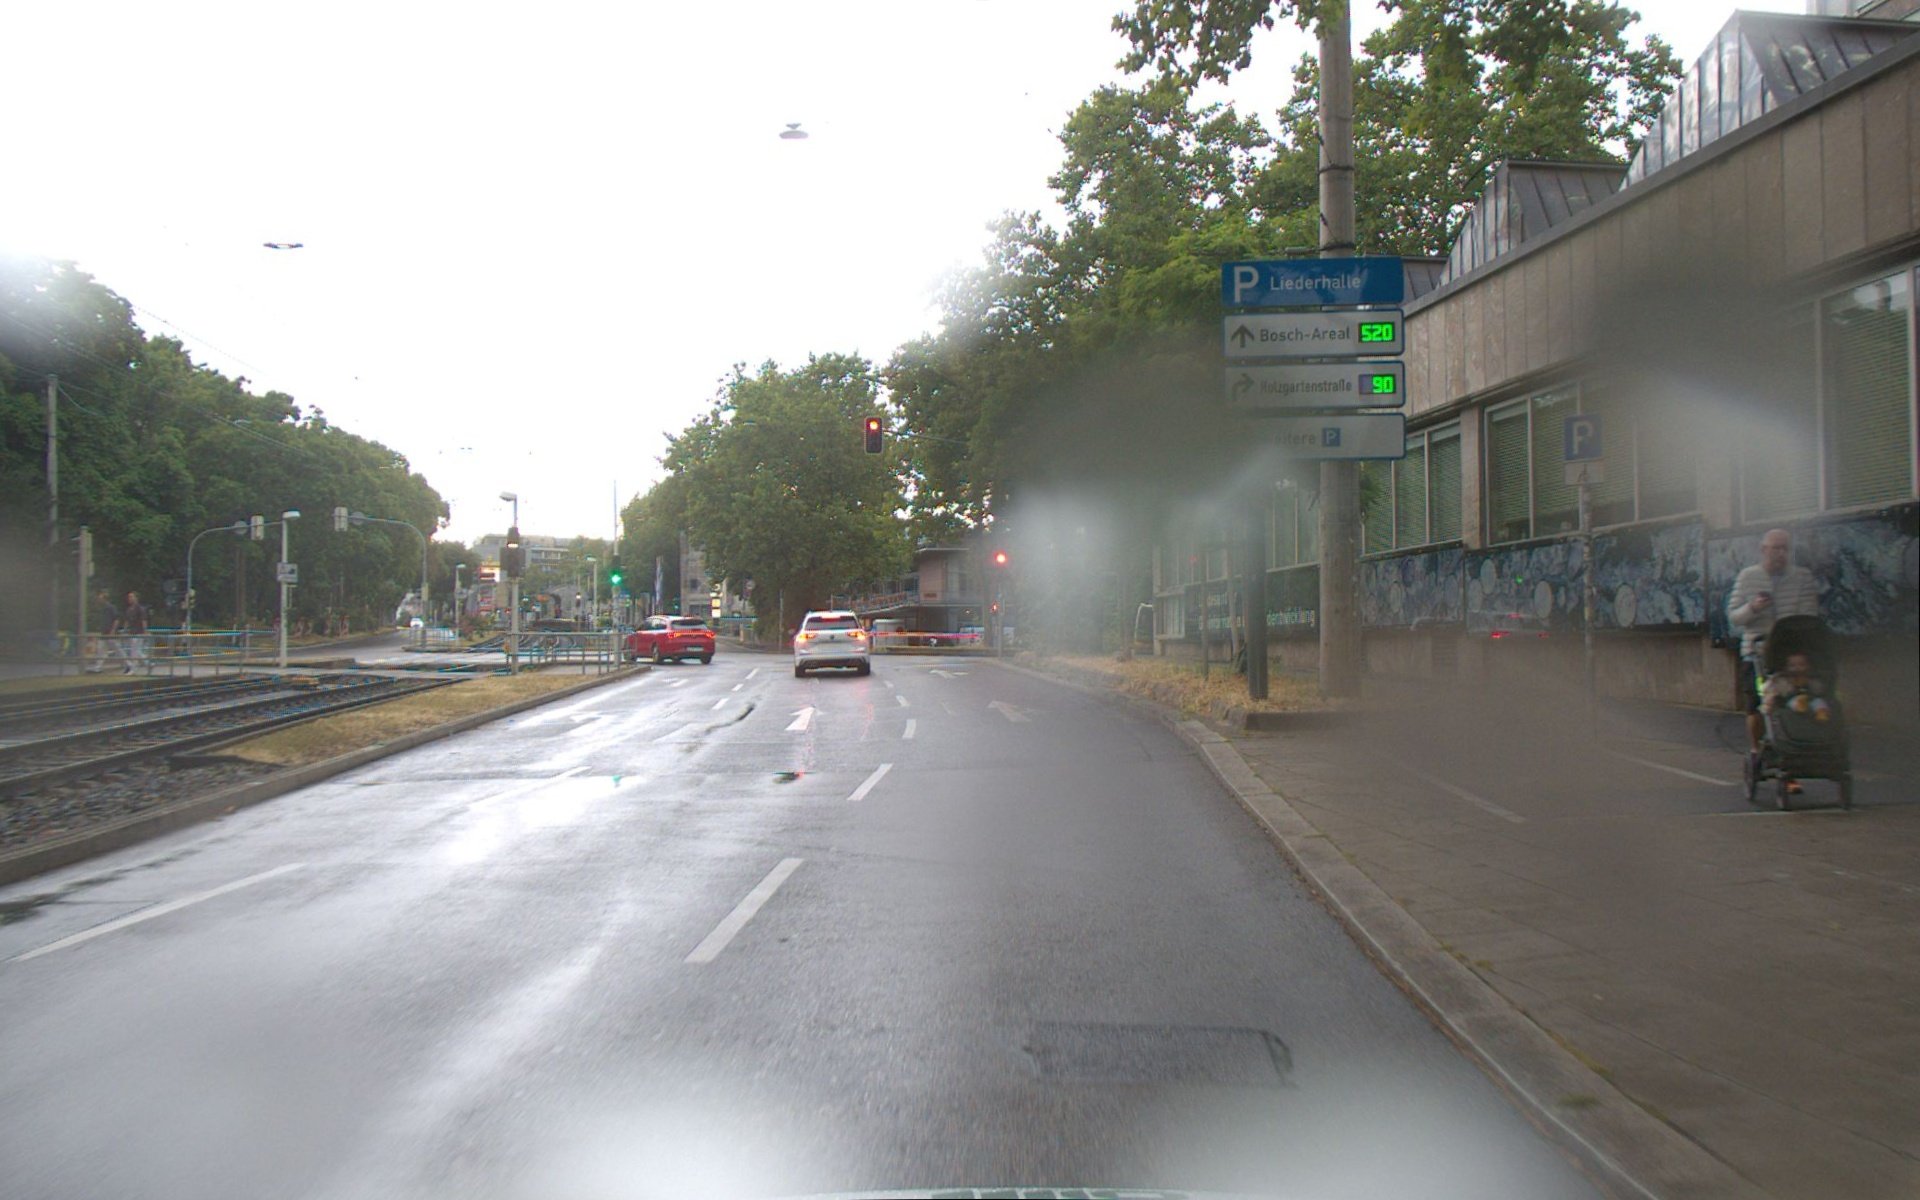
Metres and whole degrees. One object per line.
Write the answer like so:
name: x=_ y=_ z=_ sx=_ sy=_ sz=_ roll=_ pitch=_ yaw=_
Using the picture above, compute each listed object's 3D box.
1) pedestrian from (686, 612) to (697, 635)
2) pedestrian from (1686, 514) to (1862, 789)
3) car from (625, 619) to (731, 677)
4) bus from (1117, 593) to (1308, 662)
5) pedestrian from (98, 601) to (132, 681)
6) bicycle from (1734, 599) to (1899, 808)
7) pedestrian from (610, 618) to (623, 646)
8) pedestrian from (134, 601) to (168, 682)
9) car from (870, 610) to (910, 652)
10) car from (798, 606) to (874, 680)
pedestrian: x=-21.922 y=1.957 z=134.918 sx=0.744 sy=1.855 sz=0.697 roll=2 pitch=-2 yaw=-17
pedestrian: x=5.577 y=0.338 z=11.388 sx=0.703 sy=1.772 sz=1.020 roll=-3 pitch=0 yaw=6
car: x=-8.652 y=1.453 z=50.534 sx=1.957 sy=1.669 sz=4.377 roll=2 pitch=-2 yaw=-27
bus: x=12.618 y=1.425 z=82.587 sx=9.279 sy=3.166 sz=2.545 roll=2 pitch=-2 yaw=-19
pedestrian: x=-19.478 y=0.944 z=38.126 sx=0.631 sy=1.819 sz=0.803 roll=2 pitch=-2 yaw=-27
bicycle: x=5.369 y=0.623 z=10.411 sx=0.605 sy=1.242 sz=0.911 roll=-2 pitch=0 yaw=7
pedestrian: x=-20.761 y=1.948 z=99.943 sx=0.725 sy=1.669 sz=0.867 roll=2 pitch=-2 yaw=-14
pedestrian: x=-18.386 y=0.939 z=37.586 sx=0.631 sy=1.819 sz=0.803 roll=2 pitch=-2 yaw=-27
car: x=-5.518 y=2.463 z=129.448 sx=2.498 sy=3.189 sz=5.019 roll=2 pitch=-2 yaw=-9
car: x=-2.893 y=0.968 z=38.782 sx=1.646 sy=1.604 sz=4.249 roll=-1 pitch=0 yaw=-4
